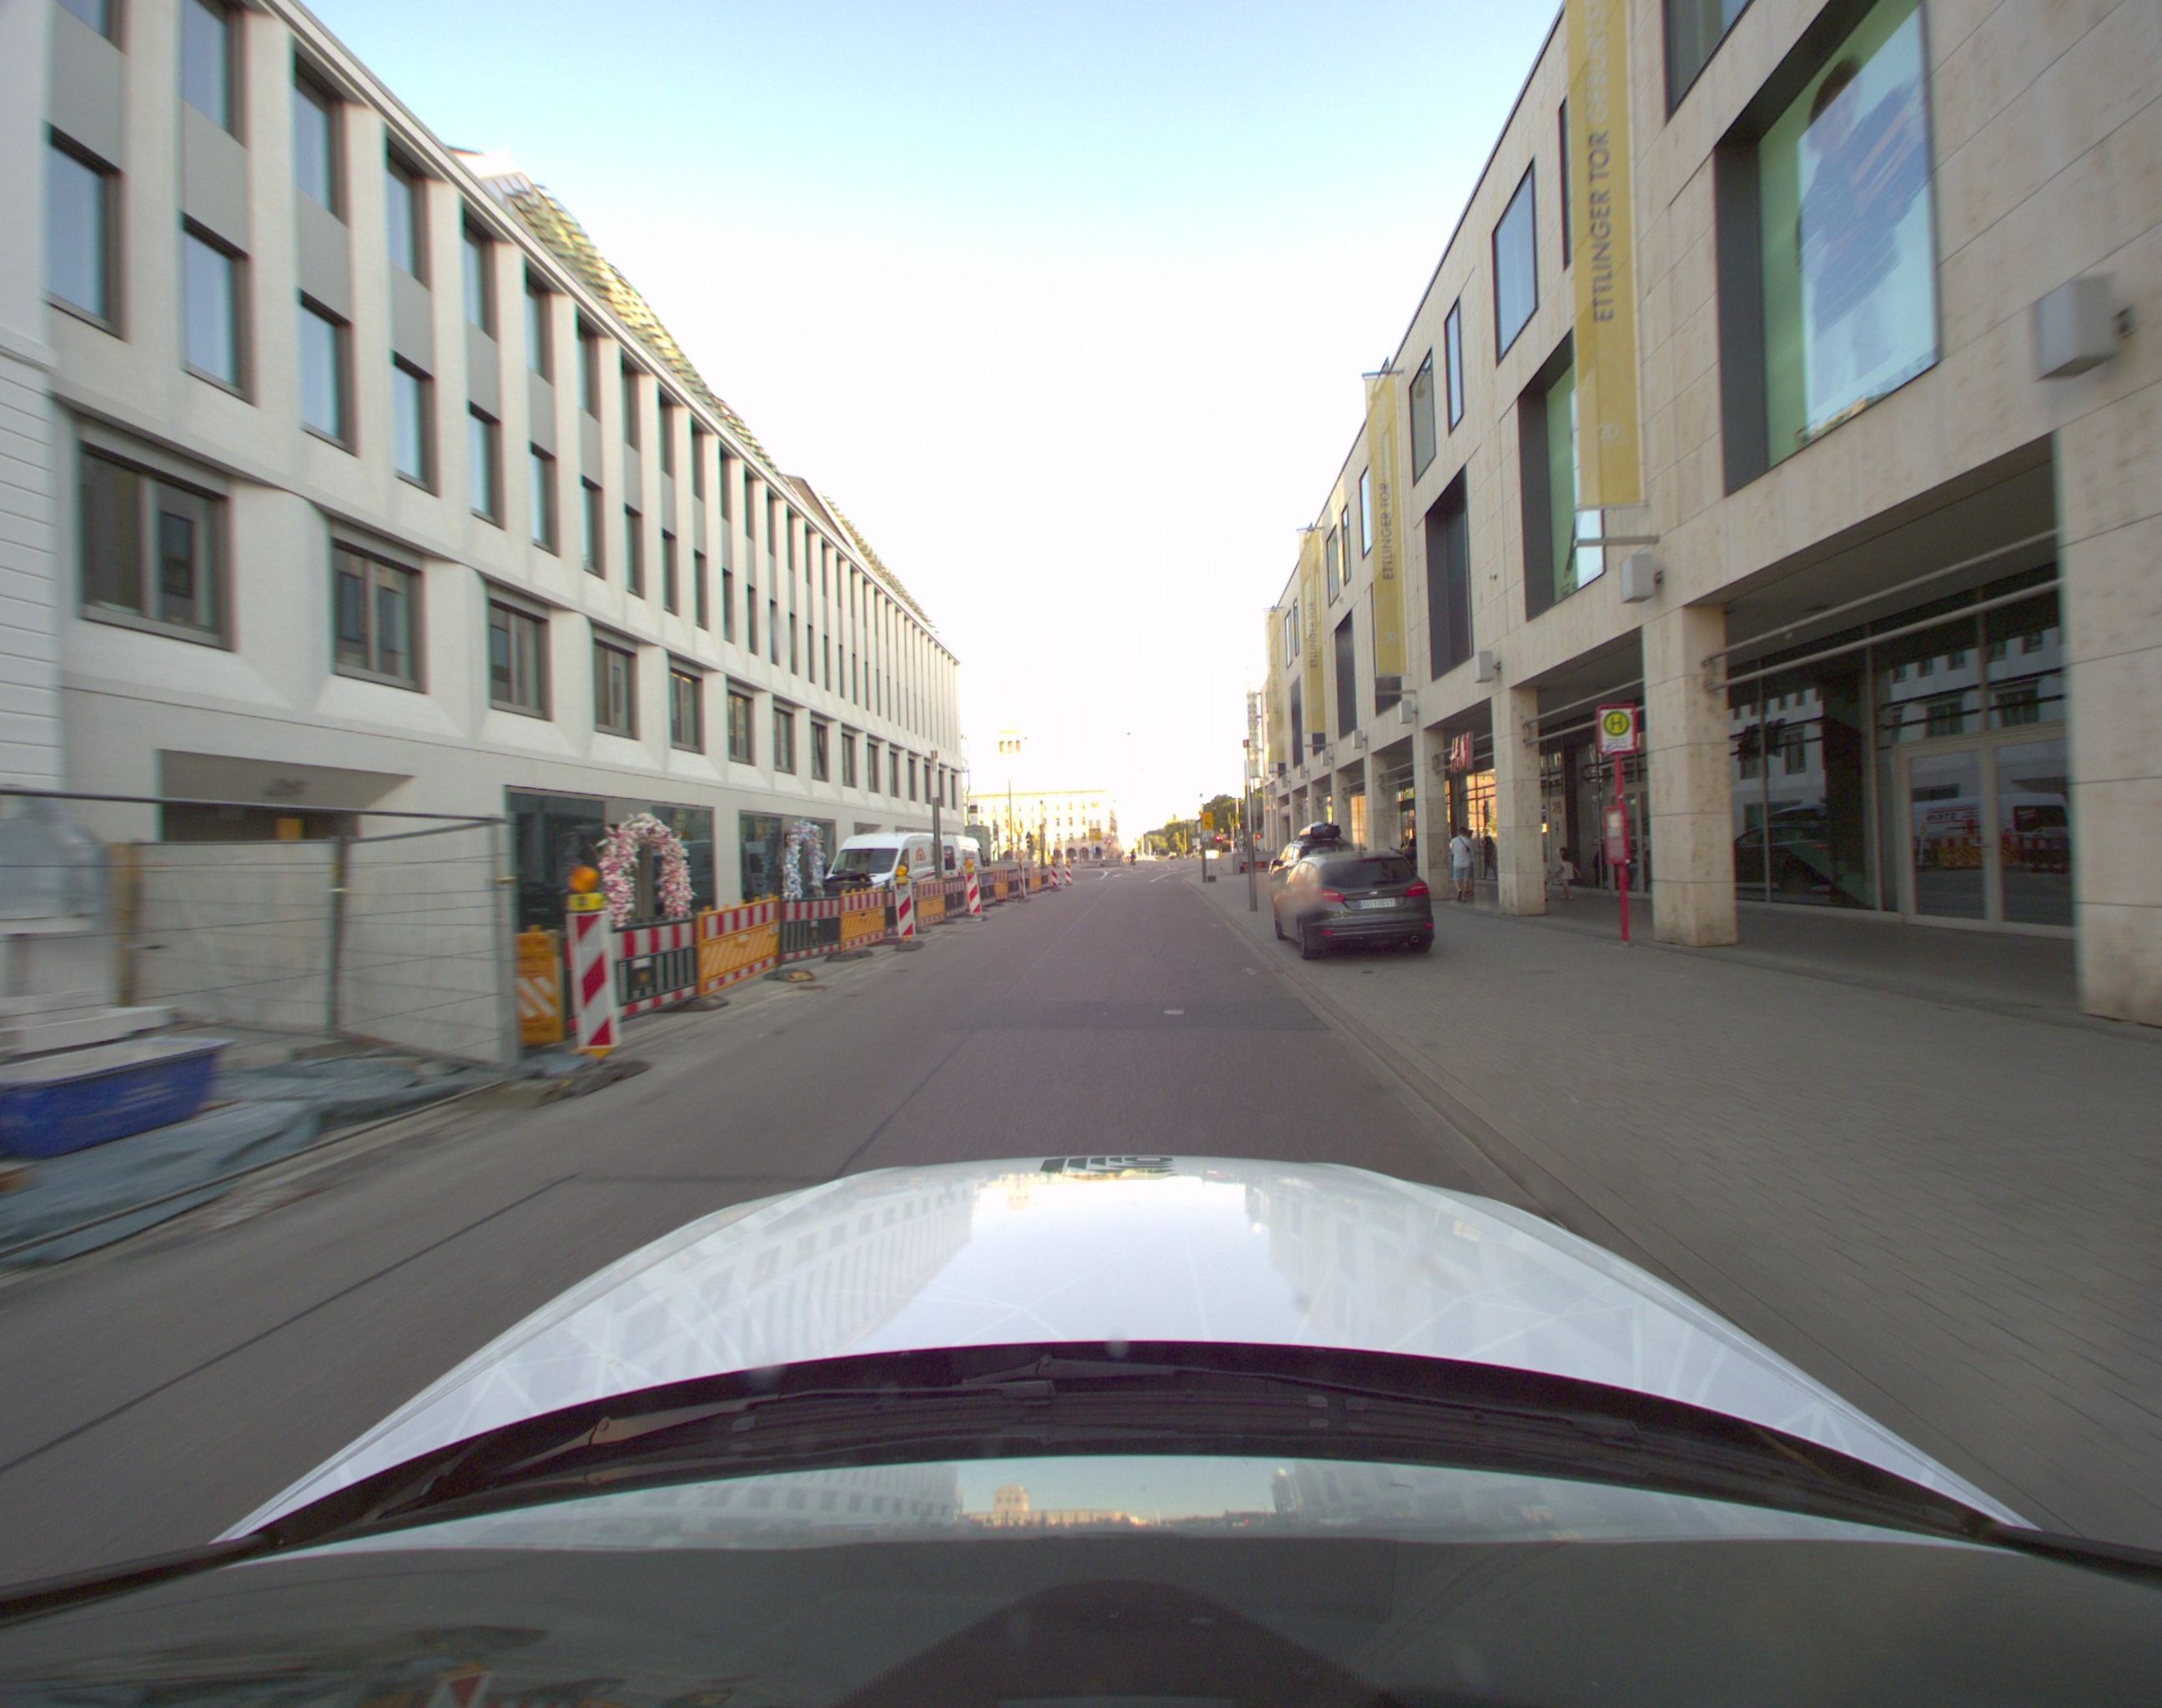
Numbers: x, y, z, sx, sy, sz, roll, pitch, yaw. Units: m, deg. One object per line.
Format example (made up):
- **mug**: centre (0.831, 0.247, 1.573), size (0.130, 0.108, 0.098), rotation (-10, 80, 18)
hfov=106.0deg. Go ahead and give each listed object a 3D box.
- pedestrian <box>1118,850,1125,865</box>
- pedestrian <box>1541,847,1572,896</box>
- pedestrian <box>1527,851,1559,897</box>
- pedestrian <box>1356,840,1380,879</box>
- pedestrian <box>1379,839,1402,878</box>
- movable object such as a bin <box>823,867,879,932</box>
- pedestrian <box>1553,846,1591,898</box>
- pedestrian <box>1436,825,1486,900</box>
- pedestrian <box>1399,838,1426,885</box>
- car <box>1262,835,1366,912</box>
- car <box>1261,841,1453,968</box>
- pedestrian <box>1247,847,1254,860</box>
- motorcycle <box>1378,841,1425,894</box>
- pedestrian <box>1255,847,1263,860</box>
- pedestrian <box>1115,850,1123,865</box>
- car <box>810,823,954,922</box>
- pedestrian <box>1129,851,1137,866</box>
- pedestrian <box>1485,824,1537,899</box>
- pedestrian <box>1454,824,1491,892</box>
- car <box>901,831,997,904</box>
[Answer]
- **pedestrian**: centre (5.131, 0.473, 102.970), size (0.735, 1.777, 0.864), rotation (-5, 0, 3)
- **pedestrian**: centre (10.858, 0.391, 18.601), size (0.418, 1.097, 0.526), rotation (-2, 1, 4)
- **pedestrian**: centre (10.319, 0.444, 18.208), size (0.418, 0.986, 0.526), rotation (-2, 1, 4)
- **pedestrian**: centre (11.681, 0.220, 33.124), size (0.721, 1.542, 0.729), rotation (-2, 0, 4)
- **pedestrian**: centre (12.536, 0.195, 33.004), size (0.631, 1.542, 0.776), rotation (-2, 0, 4)
- **movable object such as a bin**: centre (-5.538, 1.075, 19.691), size (1.042, 1.466, 1.390), rotation (-2, 0, -7)
- **pedestrian**: centre (10.827, 0.389, 17.964), size (0.485, 1.097, 0.602), rotation (-2, 1, 4)
- **pedestrian**: centre (8.900, 0.187, 19.085), size (0.761, 1.681, 0.878), rotation (-2, 1, 4)
- **pedestrian**: centre (11.297, 0.246, 27.761), size (0.631, 1.567, 0.776), rotation (-2, 1, 4)
- **car**: centre (5.892, 0.464, 21.078), size (1.760, 1.637, 4.063), rotation (-5, -1, 5)
- **car**: centre (4.033, 0.661, 12.643), size (1.786, 1.490, 4.199), rotation (-5, -1, 5)
- **pedestrian**: centre (23.336, -0.031, 112.088), size (0.856, 1.777, 0.742), rotation (-5, 0, 6)
- **motorcycle**: centre (9.081, 0.358, 23.127), size (0.689, 1.416, 2.140), rotation (-2, 0, 7)
- **pedestrian**: centre (24.388, -0.098, 111.572), size (0.752, 1.777, 0.742), rotation (-5, 0, 6)
- **pedestrian**: centre (4.762, 0.436, 102.056), size (0.733, 1.777, 0.866), rotation (-5, 0, 11)
- **car**: centre (-5.571, 0.475, 23.828), size (2.163, 2.470, 6.008), rotation (-2, 0, 5)
- **pedestrian**: centre (6.334, 0.538, 99.298), size (0.735, 1.777, 0.864), rotation (-4, 0, 2)
- **pedestrian**: centre (10.025, 0.155, 19.028), size (0.761, 1.681, 0.878), rotation (-2, 1, 4)
- **pedestrian**: centre (10.132, 0.096, 21.070), size (0.588, 1.698, 0.697), rotation (-2, 0, 3)
- **car**: centre (-4.885, 0.472, 31.261), size (2.163, 2.470, 6.007), rotation (-2, 0, 5)
